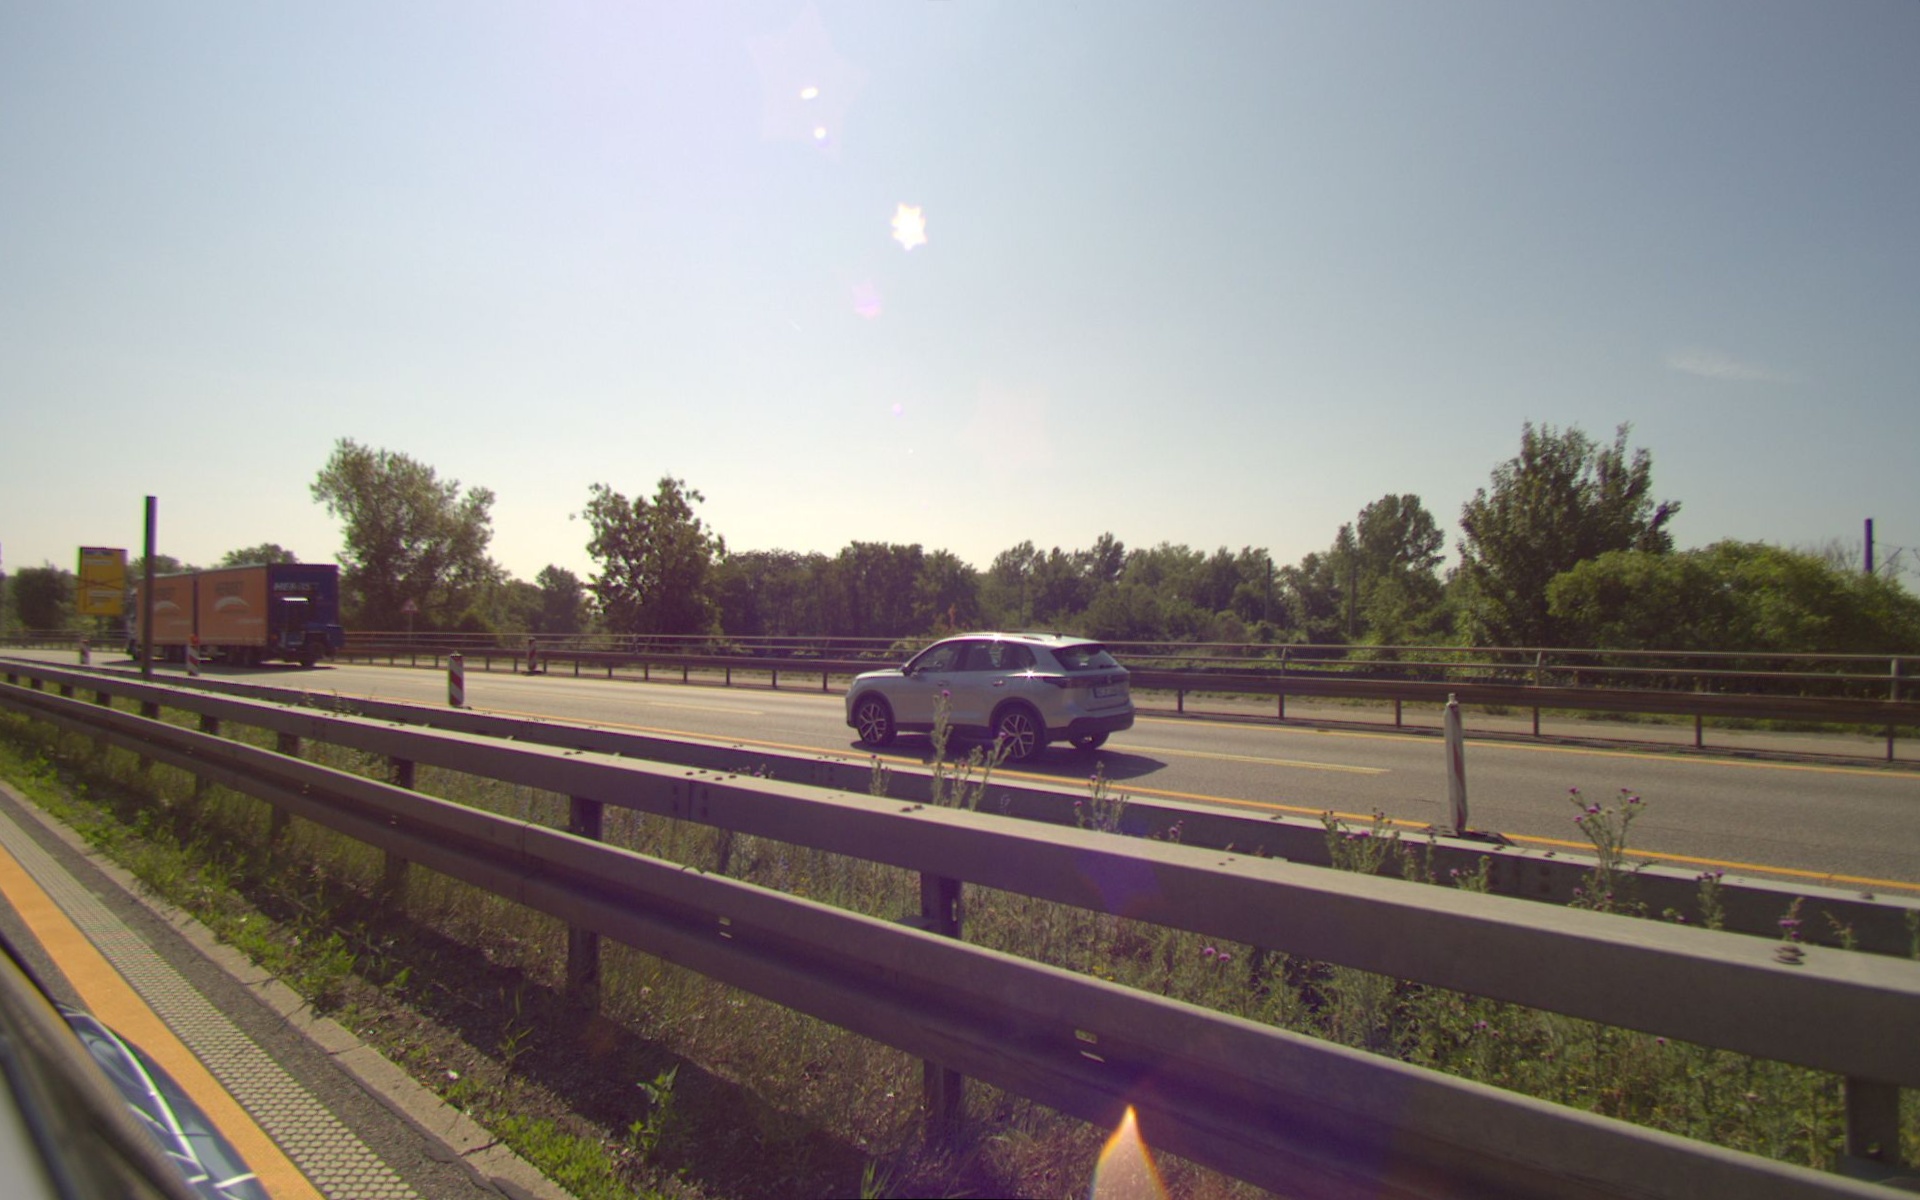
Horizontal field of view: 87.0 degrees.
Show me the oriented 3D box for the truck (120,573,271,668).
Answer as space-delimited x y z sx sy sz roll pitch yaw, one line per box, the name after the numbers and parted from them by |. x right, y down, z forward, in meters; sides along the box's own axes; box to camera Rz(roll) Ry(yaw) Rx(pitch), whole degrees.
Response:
-36.479 1.021 48.088 10.606 4.122 3.009 -2 -1 37 | truck

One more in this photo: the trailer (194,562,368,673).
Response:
-28.297 0.775 41.922 9.771 4.122 3.010 -2 -1 37 | trailer

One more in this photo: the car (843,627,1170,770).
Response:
0.546 1.252 14.300 4.373 1.663 1.889 -2 -1 41 | car
